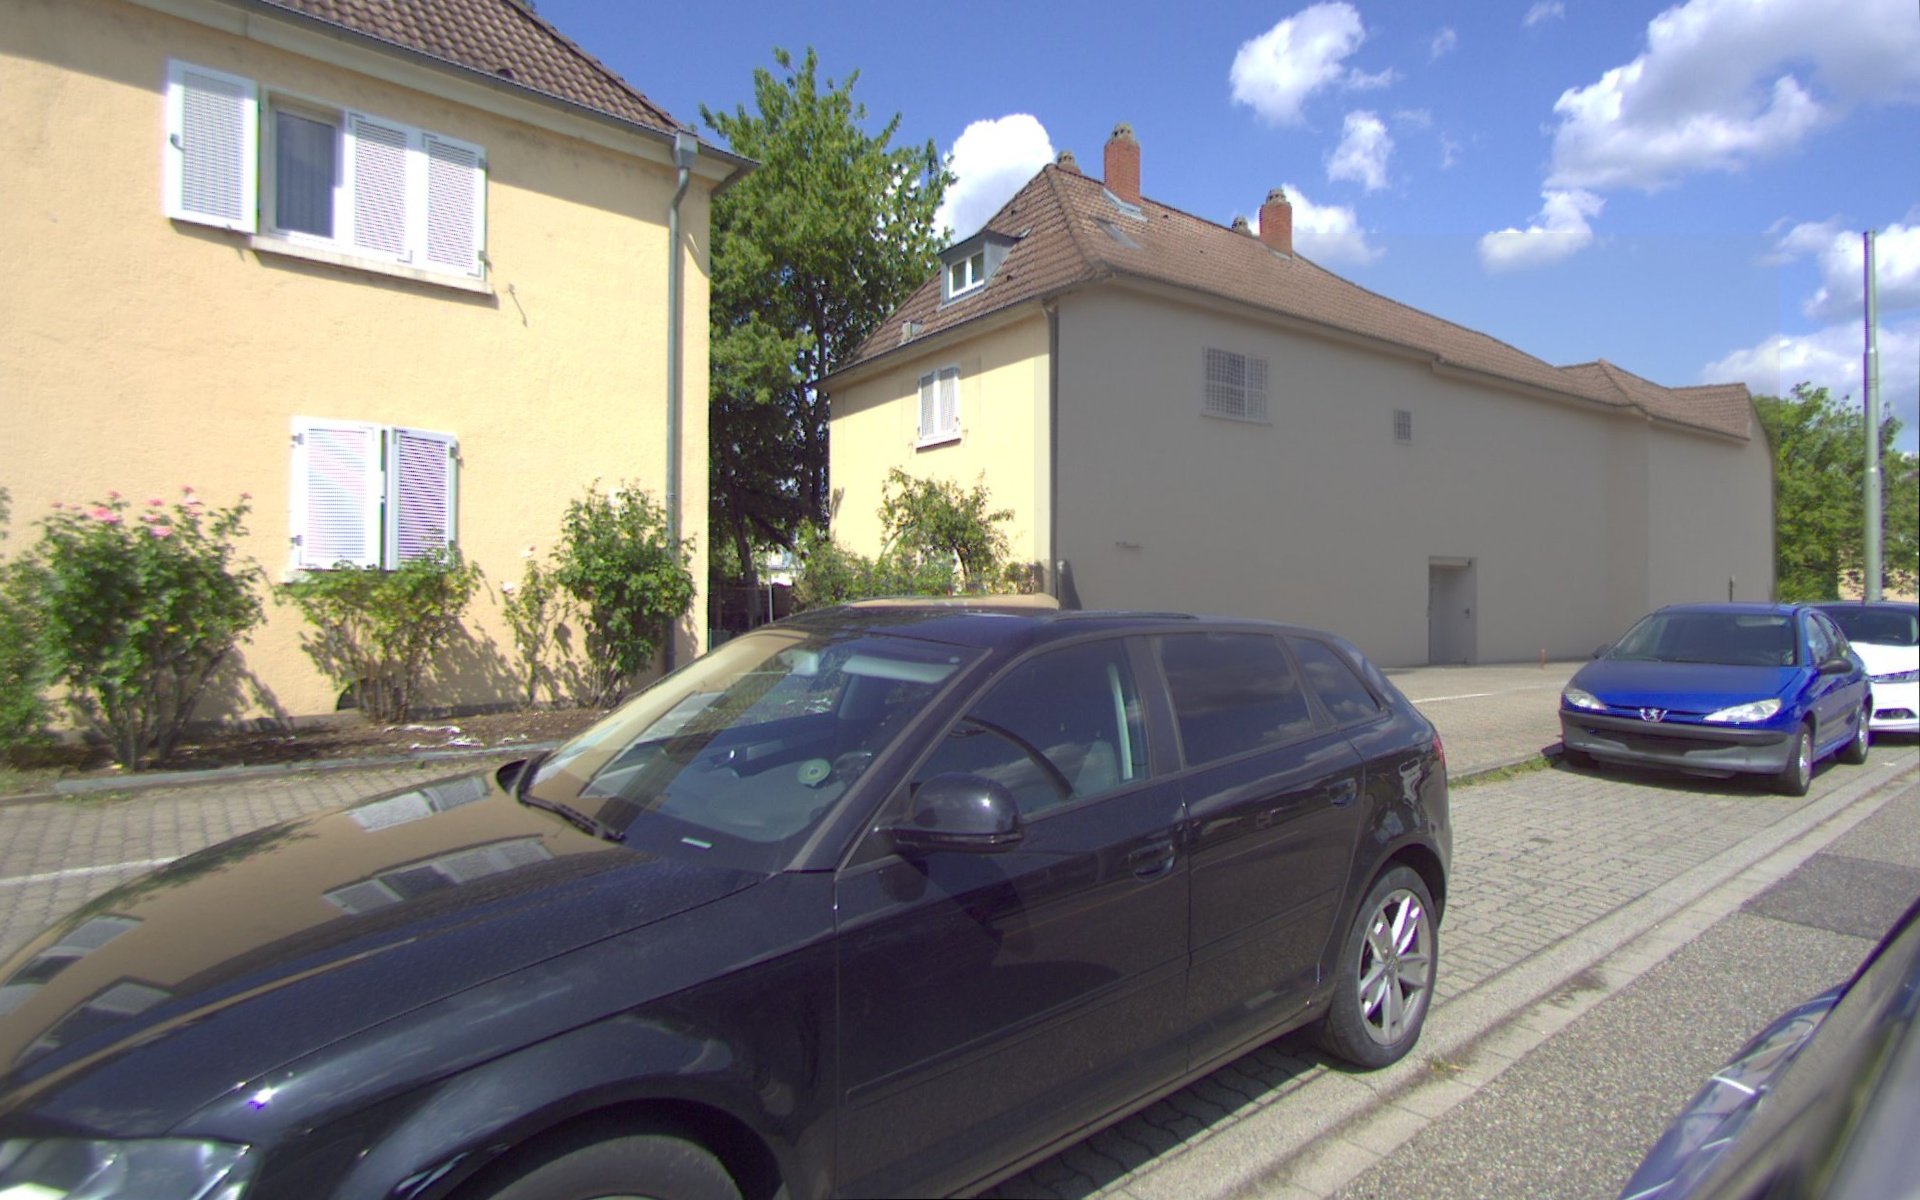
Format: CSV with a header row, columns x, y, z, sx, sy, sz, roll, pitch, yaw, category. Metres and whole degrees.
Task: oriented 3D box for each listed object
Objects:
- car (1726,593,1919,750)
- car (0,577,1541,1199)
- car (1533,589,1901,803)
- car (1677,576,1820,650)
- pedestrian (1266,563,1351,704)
x,y,z,sx,sy,sz,roll,pitch,yaw,category
10.603,0.680,11.726,4.545,1.507,1.756,0,1,-40,car
-0.120,0.679,2.909,4.437,1.455,1.688,-1,1,-40,car
6.733,0.643,8.869,3.828,1.447,1.701,-1,1,-39,car
20.389,0.319,26.130,3.971,1.769,1.927,0,-1,-37,car
4.305,0.391,12.493,0.884,1.659,0.617,0,0,-39,pedestrian
